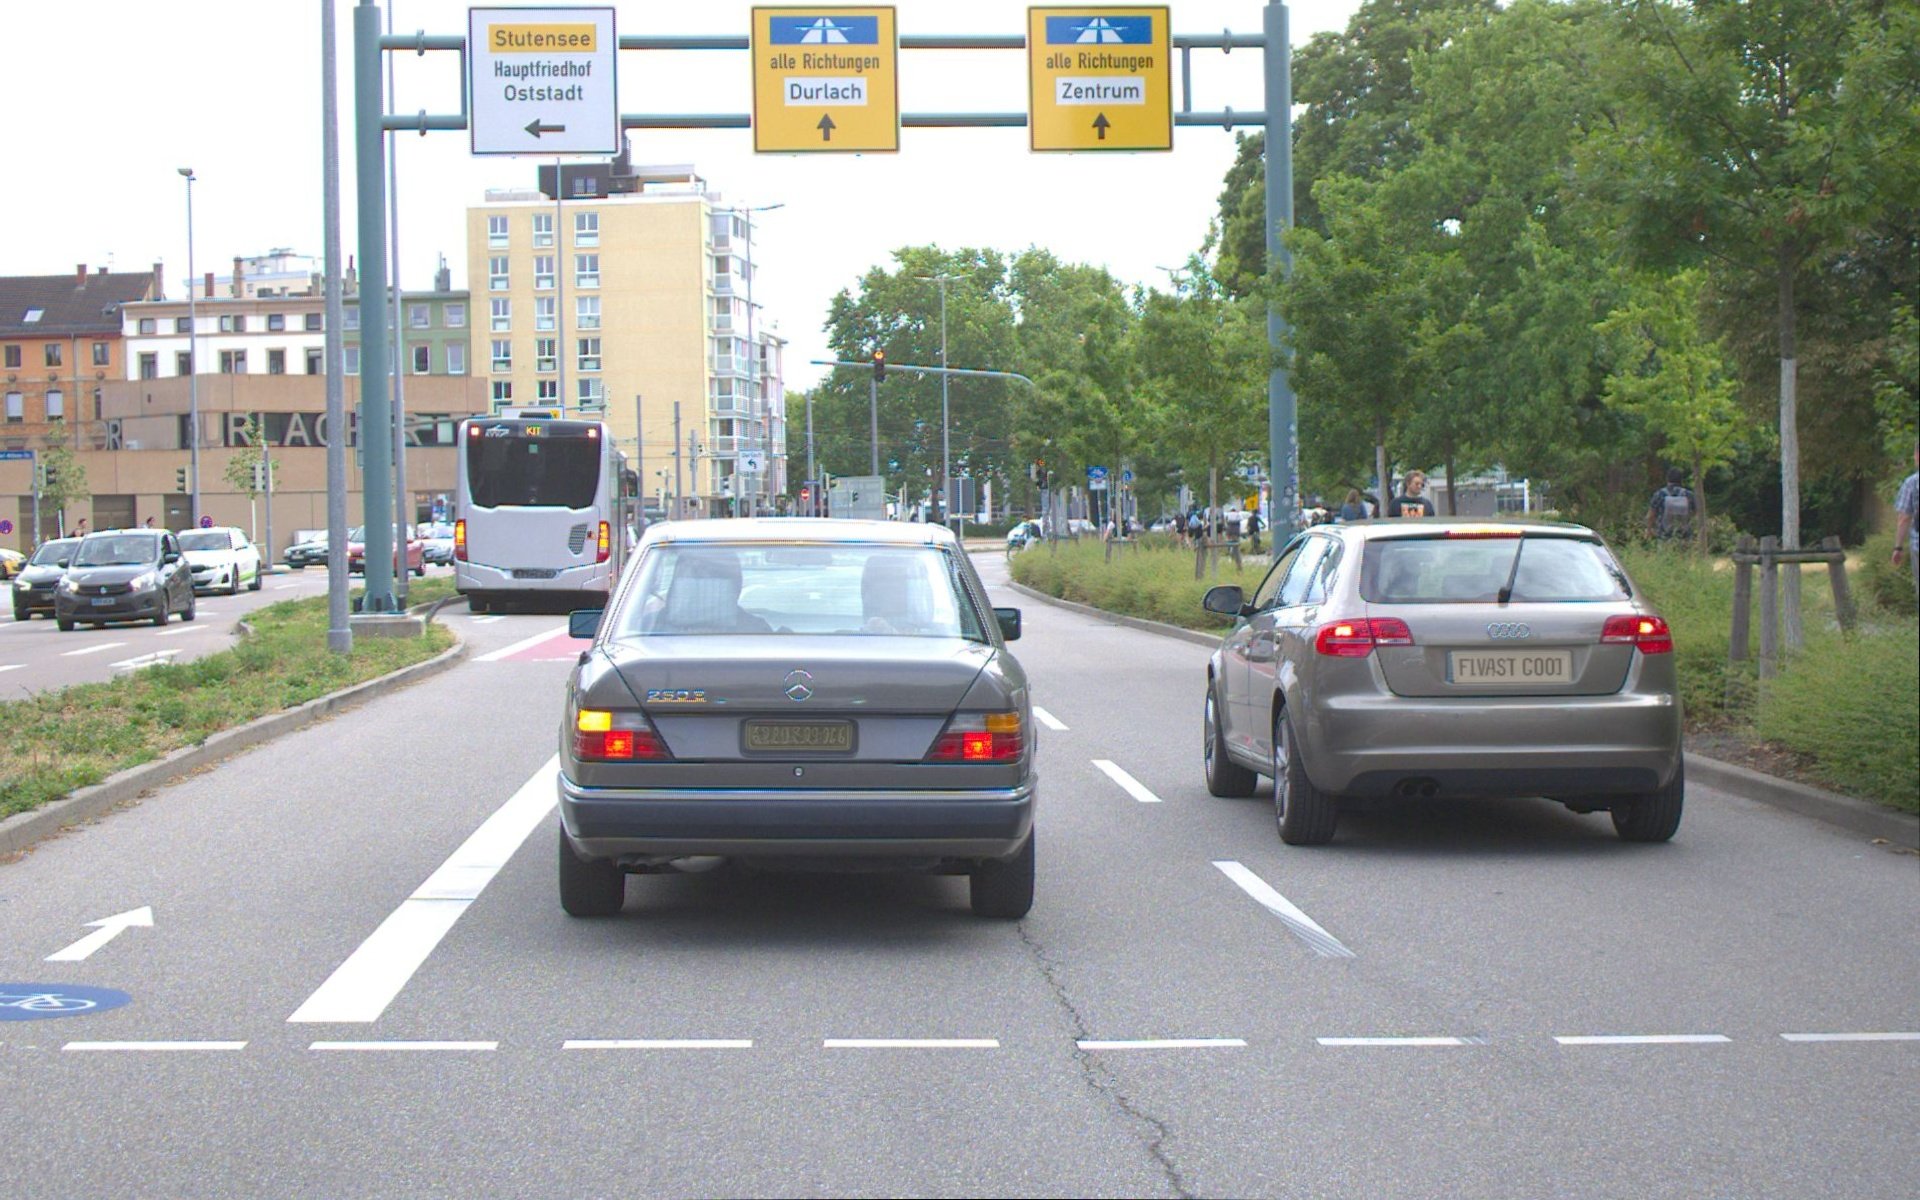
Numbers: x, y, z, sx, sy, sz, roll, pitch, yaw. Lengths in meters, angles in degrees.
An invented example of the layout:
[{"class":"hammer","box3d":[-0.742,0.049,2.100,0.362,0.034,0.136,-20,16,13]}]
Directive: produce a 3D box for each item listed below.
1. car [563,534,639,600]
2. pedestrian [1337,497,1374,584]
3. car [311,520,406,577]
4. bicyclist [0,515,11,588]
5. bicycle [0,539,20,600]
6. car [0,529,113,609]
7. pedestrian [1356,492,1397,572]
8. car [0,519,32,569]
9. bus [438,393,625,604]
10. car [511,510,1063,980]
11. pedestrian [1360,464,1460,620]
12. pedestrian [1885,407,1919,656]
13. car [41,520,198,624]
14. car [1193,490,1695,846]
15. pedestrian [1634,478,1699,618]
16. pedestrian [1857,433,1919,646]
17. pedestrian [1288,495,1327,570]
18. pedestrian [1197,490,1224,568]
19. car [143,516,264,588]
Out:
[{"class":"car","box3d":[-8.188,-0.773,78.491,1.655,1.391,3.861,-1,2,-5]},{"class":"pedestrian","box3d":[7.828,-1.181,68.006,0.647,1.707,0.561,-1,1,12]},{"class":"car","box3d":[-16.678,-1.454,95.491,1.801,1.484,4.289,-1,2,1]},{"class":"bicyclist","box3d":[-18.924,-0.947,67.060,0.580,1.414,0.811,-1,1,0]},{"class":"bicycle","box3d":[-18.921,-0.588,67.243,0.581,1.166,1.964,-1,2,-2]},{"class":"car","box3d":[-16.317,-0.578,61.430,1.502,1.360,3.833,0,2,-2]},{"class":"pedestrian","box3d":[7.669,-1.254,63.266,0.657,1.465,0.561,-1,1,14]},{"class":"car","box3d":[-30.265,-1.722,104.372,3.855,1.512,1.661,0,1,-8]},{"class":"bus","box3d":[-7.320,-1.762,59.672,2.831,3.378,8.184,-1,2,-5]},{"class":"car","box3d":[-0.630,0.415,13.222,1.761,1.484,4.172,-1,2,-2]},{"class":"pedestrian","box3d":[5.367,-0.696,40.999,0.935,1.824,0.886,-1,2,25]},{"class":"pedestrian","box3d":[7.314,-0.512,25.300,0.693,1.815,0.954,-1,1,-2]},{"class":"car","box3d":[-12.821,-0.459,52.613,1.571,1.484,3.637,-2,2,-2]},{"class":"car","box3d":[2.140,0.232,16.152,1.724,1.452,3.736,-1,2,-2]},{"class":"pedestrian","box3d":[8.554,-0.635,41.641,0.587,1.677,0.748,-1,1,-2]},{"class":"pedestrian","box3d":[7.853,-0.506,28.388,0.619,1.729,0.814,-1,1,-2]},{"class":"pedestrian","box3d":[7.941,-1.549,78.591,0.802,1.707,0.764,-1,1,10]},{"class":"pedestrian","box3d":[6.465,-1.840,88.817,0.614,2.007,0.597,-1,1,-4]},{"class":"car","box3d":[-16.469,-1.078,75.037,1.801,1.484,4.417,-1,2,-2]}]
